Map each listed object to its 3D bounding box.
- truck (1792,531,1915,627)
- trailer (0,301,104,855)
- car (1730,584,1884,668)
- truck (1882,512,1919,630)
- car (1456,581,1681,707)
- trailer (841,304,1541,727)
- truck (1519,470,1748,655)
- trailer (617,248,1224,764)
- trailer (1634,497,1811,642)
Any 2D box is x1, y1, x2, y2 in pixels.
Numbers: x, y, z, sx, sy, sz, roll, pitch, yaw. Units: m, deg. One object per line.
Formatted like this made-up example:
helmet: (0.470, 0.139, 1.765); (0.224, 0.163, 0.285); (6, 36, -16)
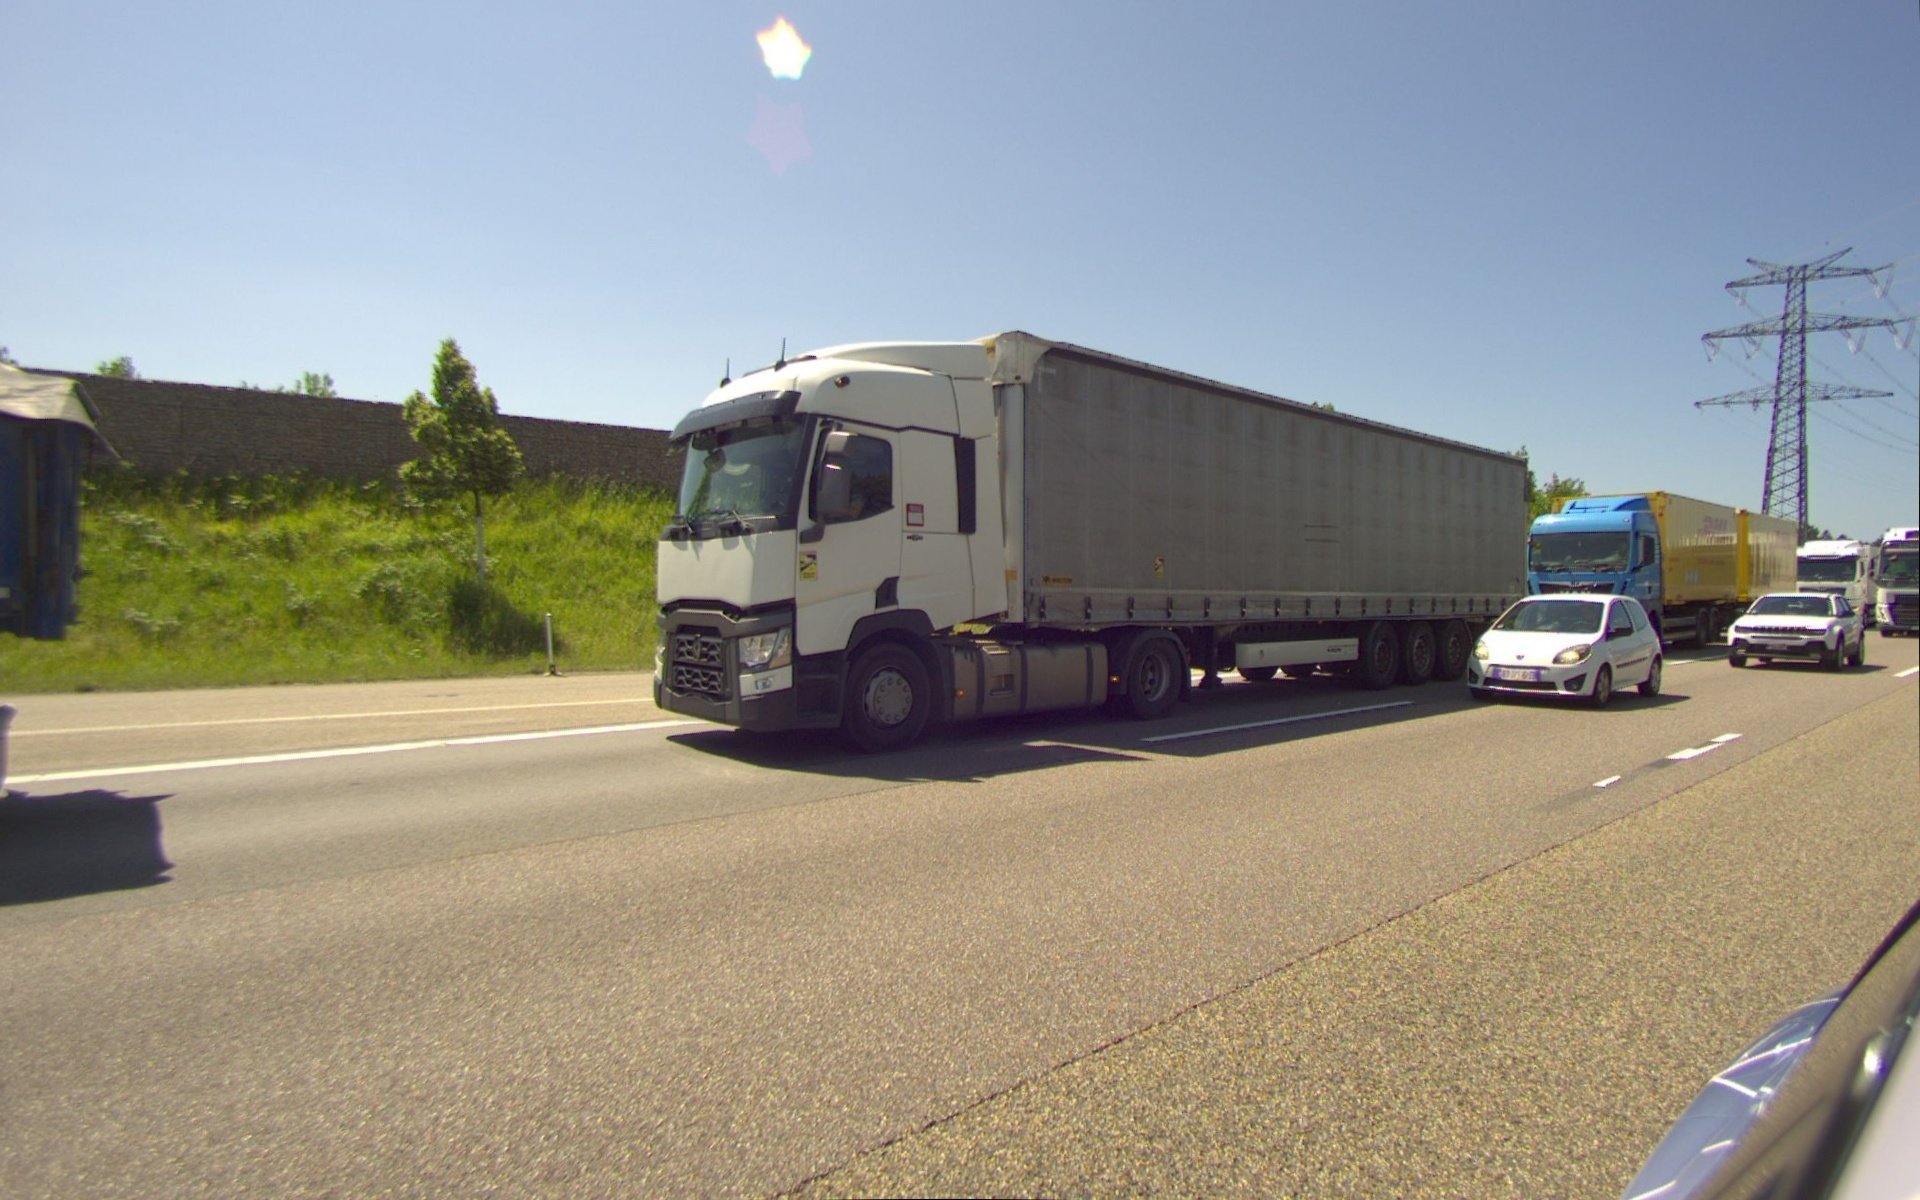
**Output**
truck: (41.391, -0.916, 46.701); (11.098, 3.980, 2.694); (-1, 0, -40)
trailer: (-8.957, -0.159, 3.614); (8.954, 2.873, 2.748); (1, 0, -41)
car: (17.466, 0.466, 20.830); (3.783, 1.549, 1.775); (-1, 1, -40)
truck: (38.908, -1.039, 39.272); (14.000, 4.089, 2.717); (0, 0, -40)
car: (8.657, 0.517, 14.287); (3.759, 1.529, 1.658); (-1, 1, -41)
trailer: (4.641, -0.837, 15.371); (13.510, 4.101, 2.967); (0, 0, -41)
truck: (18.276, -0.843, 27.087); (9.781, 4.161, 2.769); (0, 0, -42)
trailer: (-0.155, -0.760, 11.215); (6.298, 4.095, 2.930); (0, 0, -41)
trailer: (25.138, -0.875, 33.133); (9.212, 4.169, 2.770); (0, 0, -41)
